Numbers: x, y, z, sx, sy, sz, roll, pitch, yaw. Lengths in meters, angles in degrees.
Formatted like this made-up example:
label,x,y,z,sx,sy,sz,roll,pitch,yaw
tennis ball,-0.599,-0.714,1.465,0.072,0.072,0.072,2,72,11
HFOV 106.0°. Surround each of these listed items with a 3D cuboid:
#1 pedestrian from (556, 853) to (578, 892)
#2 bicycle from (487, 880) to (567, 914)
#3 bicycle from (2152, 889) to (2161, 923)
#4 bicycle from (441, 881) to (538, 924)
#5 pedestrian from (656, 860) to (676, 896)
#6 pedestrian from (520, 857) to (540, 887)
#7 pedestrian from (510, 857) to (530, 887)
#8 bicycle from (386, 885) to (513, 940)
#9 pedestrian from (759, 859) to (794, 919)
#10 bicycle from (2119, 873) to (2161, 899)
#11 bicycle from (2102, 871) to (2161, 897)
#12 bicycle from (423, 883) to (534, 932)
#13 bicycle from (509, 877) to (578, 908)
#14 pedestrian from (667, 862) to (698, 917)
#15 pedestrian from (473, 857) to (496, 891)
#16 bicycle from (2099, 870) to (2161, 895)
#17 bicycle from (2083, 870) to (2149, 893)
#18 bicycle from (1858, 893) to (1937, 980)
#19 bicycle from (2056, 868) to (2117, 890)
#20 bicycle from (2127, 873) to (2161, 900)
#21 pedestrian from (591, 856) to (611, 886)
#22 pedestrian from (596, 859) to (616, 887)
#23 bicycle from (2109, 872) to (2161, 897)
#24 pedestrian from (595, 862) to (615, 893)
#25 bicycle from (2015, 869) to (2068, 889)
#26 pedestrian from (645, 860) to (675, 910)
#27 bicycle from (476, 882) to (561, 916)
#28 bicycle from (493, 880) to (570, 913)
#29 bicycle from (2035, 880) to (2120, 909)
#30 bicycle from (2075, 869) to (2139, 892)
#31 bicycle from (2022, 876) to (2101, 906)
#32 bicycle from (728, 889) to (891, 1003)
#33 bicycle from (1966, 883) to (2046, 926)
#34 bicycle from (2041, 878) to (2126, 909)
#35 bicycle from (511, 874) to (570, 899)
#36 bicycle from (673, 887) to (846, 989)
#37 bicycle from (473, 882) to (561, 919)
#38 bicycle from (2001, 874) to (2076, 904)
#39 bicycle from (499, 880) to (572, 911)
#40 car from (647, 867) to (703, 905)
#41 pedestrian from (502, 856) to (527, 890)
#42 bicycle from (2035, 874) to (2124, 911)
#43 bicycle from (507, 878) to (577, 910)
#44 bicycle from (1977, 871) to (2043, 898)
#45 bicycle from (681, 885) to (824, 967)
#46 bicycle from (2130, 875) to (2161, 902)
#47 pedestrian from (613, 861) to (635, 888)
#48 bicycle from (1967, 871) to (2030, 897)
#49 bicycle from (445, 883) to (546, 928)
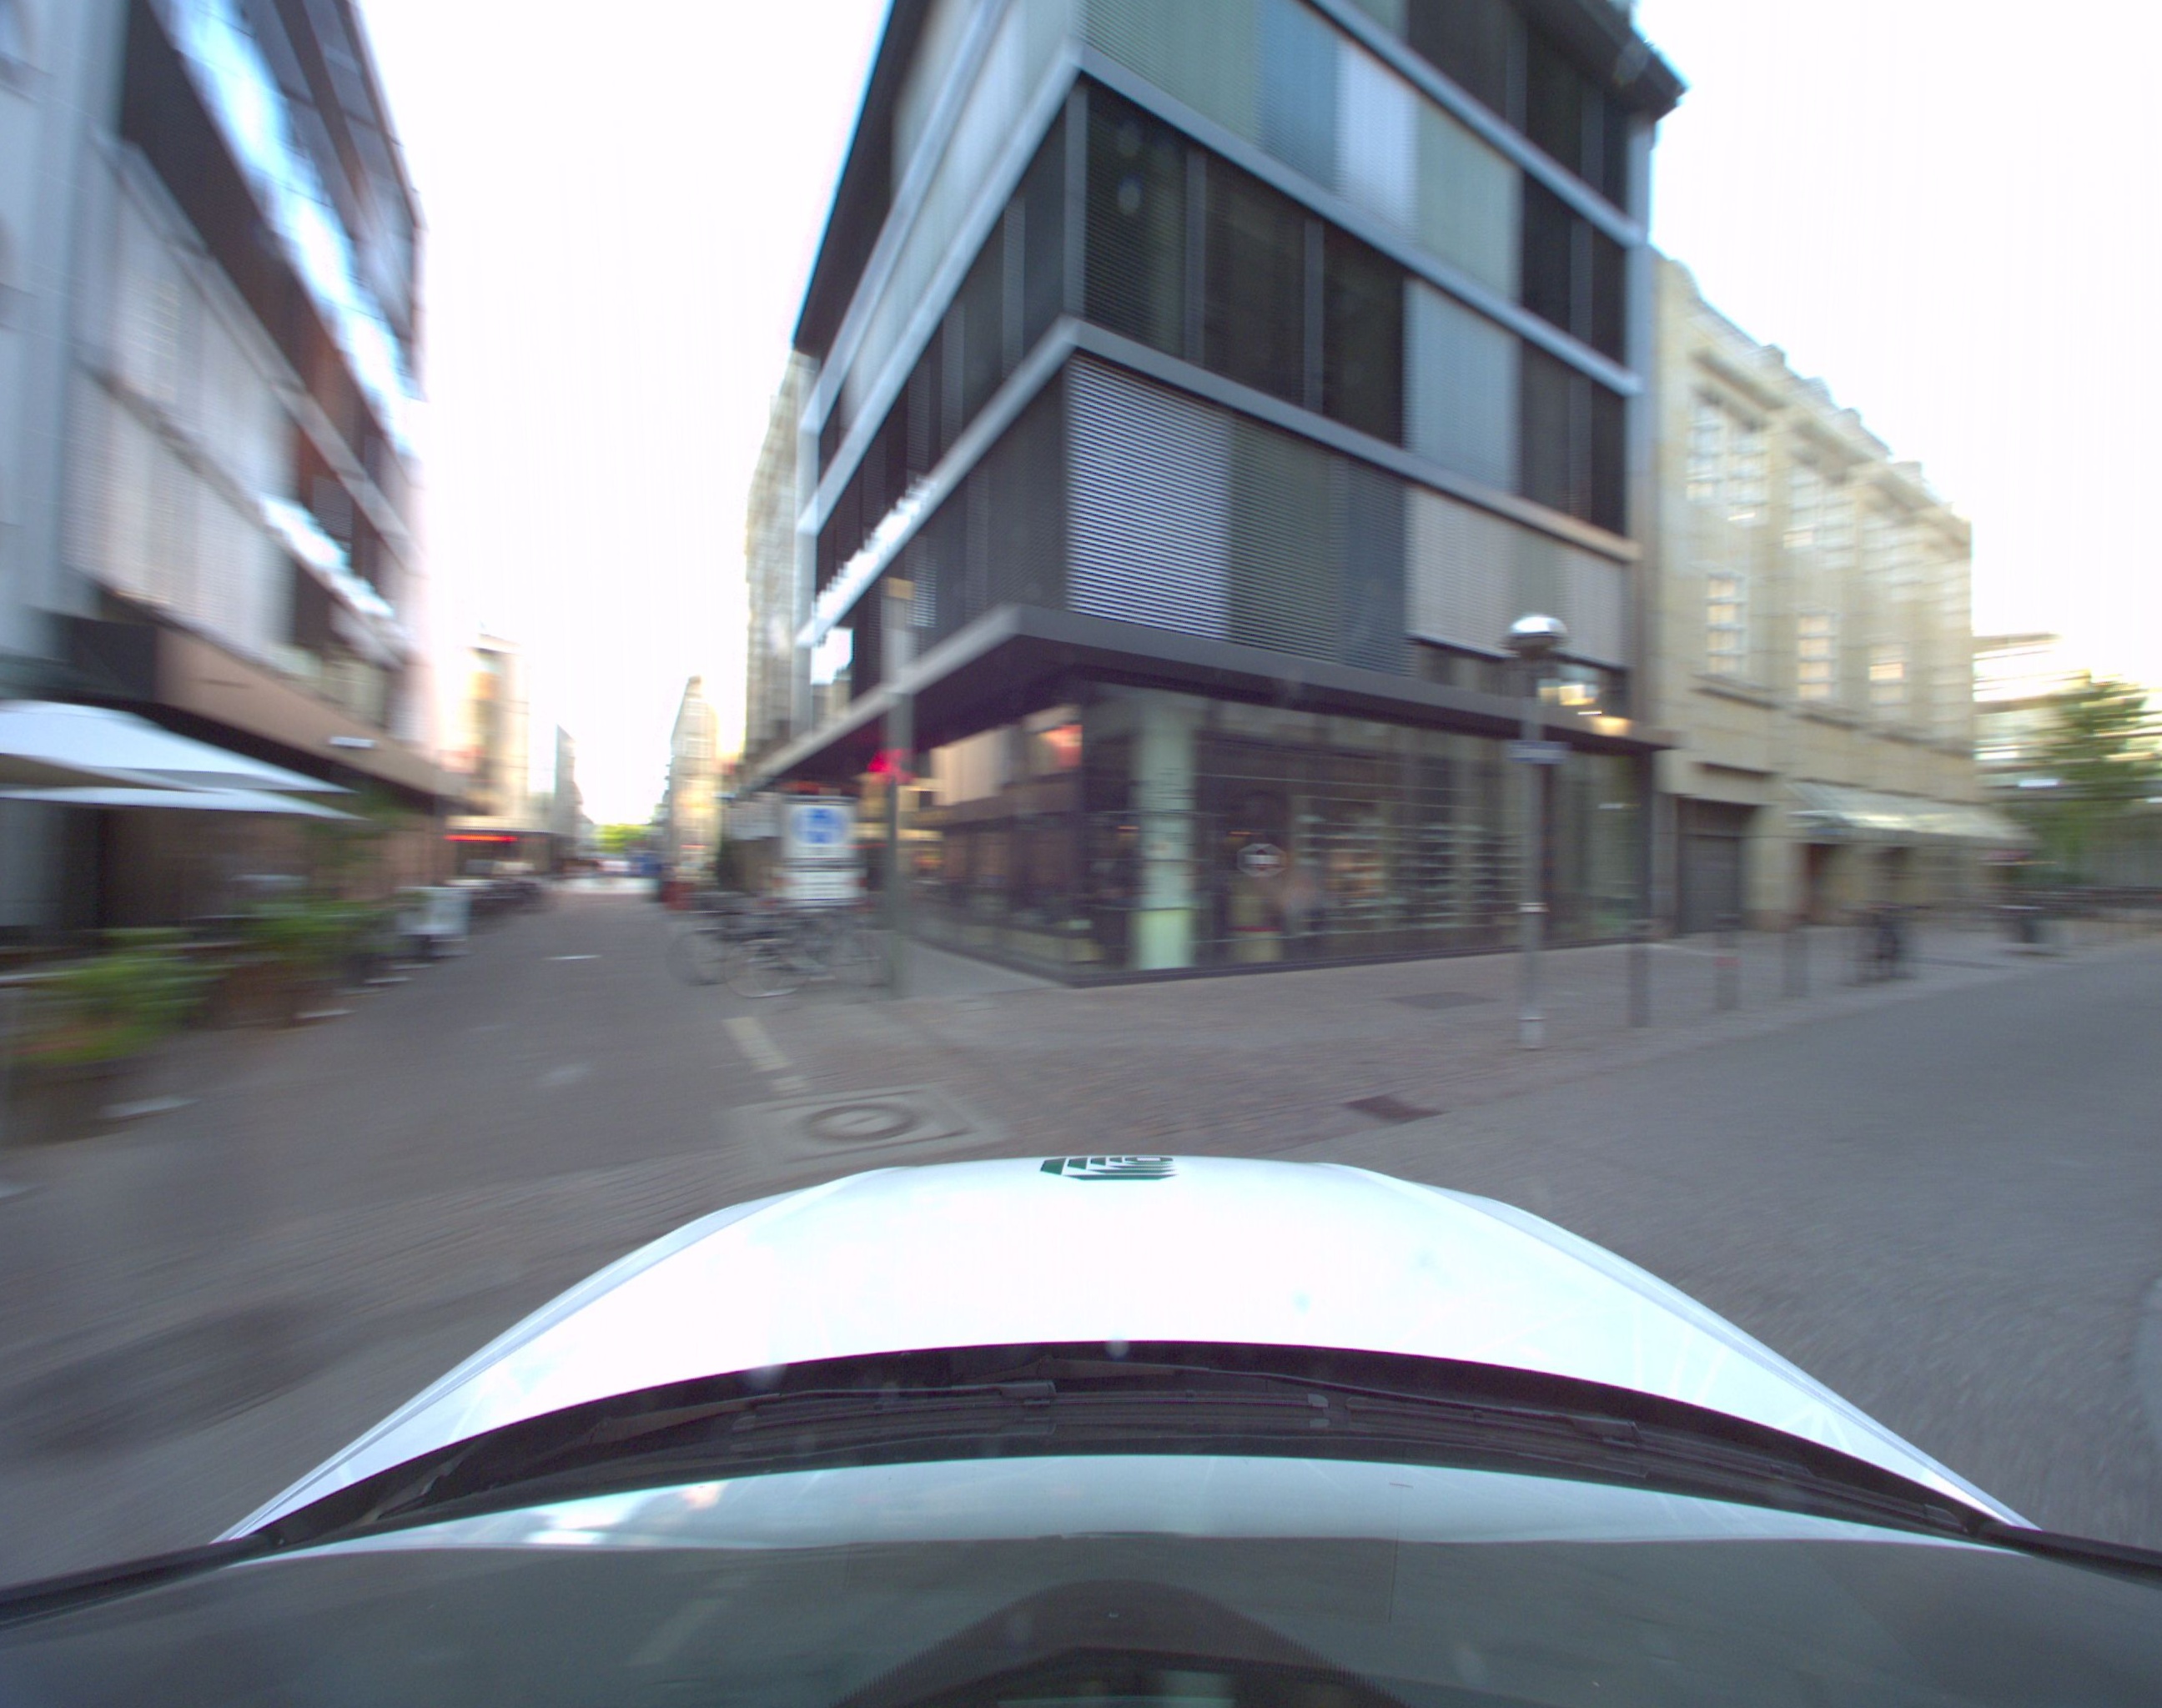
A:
label,x,y,z,sx,sy,sz,roll,pitch,yaw
pedestrian,-24.618,0.868,38.992,0.838,1.859,0.898,0,-1,-31
bicycle,-17.866,1.388,26.318,2.060,1.050,0.462,3,-2,-30
bicycle,31.941,1.504,23.581,1.692,0.966,0.504,0,-1,-15
bicycle,-15.431,1.282,21.291,1.959,1.074,0.462,3,-2,-30
pedestrian,-21.734,1.249,42.654,0.910,1.859,0.827,0,-1,-31
pedestrian,-34.301,1.127,50.701,0.910,1.859,0.828,0,-1,-29
pedestrian,-35.020,1.137,50.839,0.910,1.859,0.828,0,-1,-29
bicycle,-12.956,1.210,16.776,1.959,1.074,0.462,3,-2,-30
pedestrian,-8.157,0.909,21.801,0.801,1.565,0.851,0,-1,-27
bicycle,49.375,1.452,37.379,1.975,1.182,0.807,-3,-3,41
bicycle,51.184,1.457,39.462,1.975,1.182,0.807,-3,-3,41
bicycle,-13.796,1.227,18.715,1.959,1.074,0.462,3,-2,-30
bicycle,-19.954,1.444,30.276,2.060,1.095,0.462,3,-2,-30
pedestrian,-11.710,1.031,23.929,0.802,1.565,0.851,0,-1,-29
pedestrian,-32.552,1.073,44.446,0.910,1.859,0.828,0,-1,-29
bicycle,51.913,1.415,40.188,1.975,1.182,0.698,-3,-3,41
bicycle,53.337,1.422,41.997,1.975,1.182,0.698,-3,-3,41
bicycle,11.793,1.154,11.746,1.938,1.132,0.407,0,-1,-33
bicycle,55.581,1.374,45.039,1.975,1.182,0.698,-3,-3,41
bicycle,48.776,1.445,36.639,1.975,1.182,0.700,-3,-3,41
pedestrian,-26.751,0.949,45.377,0.910,1.661,0.785,0,-1,-32
pedestrian,-30.276,1.199,51.928,0.864,1.734,0.928,0,-1,-17
bicycle,50.137,1.437,38.346,1.975,1.182,0.807,-3,-3,41
pedestrian,-26.206,1.290,44.857,0.910,1.661,0.785,0,-1,-32
bicycle,59.205,1.522,50.200,1.975,1.182,0.698,-3,-3,41
pedestrian,-14.372,1.049,27.808,0.904,1.661,0.922,0,-1,-28
bicycle,-17.203,1.383,24.957,2.060,1.016,0.462,3,-2,-30
bicycle,-18.481,1.447,27.427,2.060,1.050,0.462,3,-2,-30
bicycle,37.019,1.488,30.299,1.895,0.994,0.700,-1,-1,41
bicycle,54.050,1.391,42.928,1.975,1.182,0.698,-3,-3,41
bicycle,38.488,1.435,32.000,1.895,1.102,0.700,-1,-1,44
bicycle,-3.128,1.022,9.436,1.708,1.136,0.462,-2,0,-30
bicycle,24.831,1.341,21.867,1.774,1.112,0.692,0,-1,-15
bicycle,37.816,1.471,30.762,1.895,1.102,0.700,-1,-1,41
bicycle,-23.444,1.413,35.349,2.060,1.013,0.462,3,-2,-30
bicycle,-4.155,1.048,10.606,2.022,1.121,0.462,-2,0,-30
bicycle,-16.562,1.376,23.980,2.060,1.016,0.462,3,-2,-30
bicycle,38.895,1.408,33.123,1.895,1.182,0.700,-1,-1,44
bicycle,-19.078,1.455,28.519,2.060,1.050,0.462,3,-2,-30
car,-17.138,1.298,34.297,1.766,1.441,3.889,-1,0,-32
pedestrian,-31.687,1.070,45.555,1.031,1.859,0.898,0,-1,-29
bicycle,35.806,1.374,29.241,1.895,1.261,0.813,-1,-1,41
bicycle,-19.606,1.456,29.685,2.060,1.095,0.462,3,-2,-30
bicycle,41.937,1.356,36.795,1.895,1.182,0.700,-1,-1,44
bicycle,-5.226,1.119,13.023,2.047,1.121,0.462,-2,0,-30
bicycle,47.971,1.520,35.901,1.975,1.182,0.700,-3,-3,41
pedestrian,-29.306,1.289,52.268,1.012,1.734,0.975,0,-1,-18
bicycle,42.564,1.365,37.814,1.895,1.182,0.700,-1,-1,44
bicycle,-14.571,1.281,20.320,1.959,1.074,0.462,3,-2,-30
